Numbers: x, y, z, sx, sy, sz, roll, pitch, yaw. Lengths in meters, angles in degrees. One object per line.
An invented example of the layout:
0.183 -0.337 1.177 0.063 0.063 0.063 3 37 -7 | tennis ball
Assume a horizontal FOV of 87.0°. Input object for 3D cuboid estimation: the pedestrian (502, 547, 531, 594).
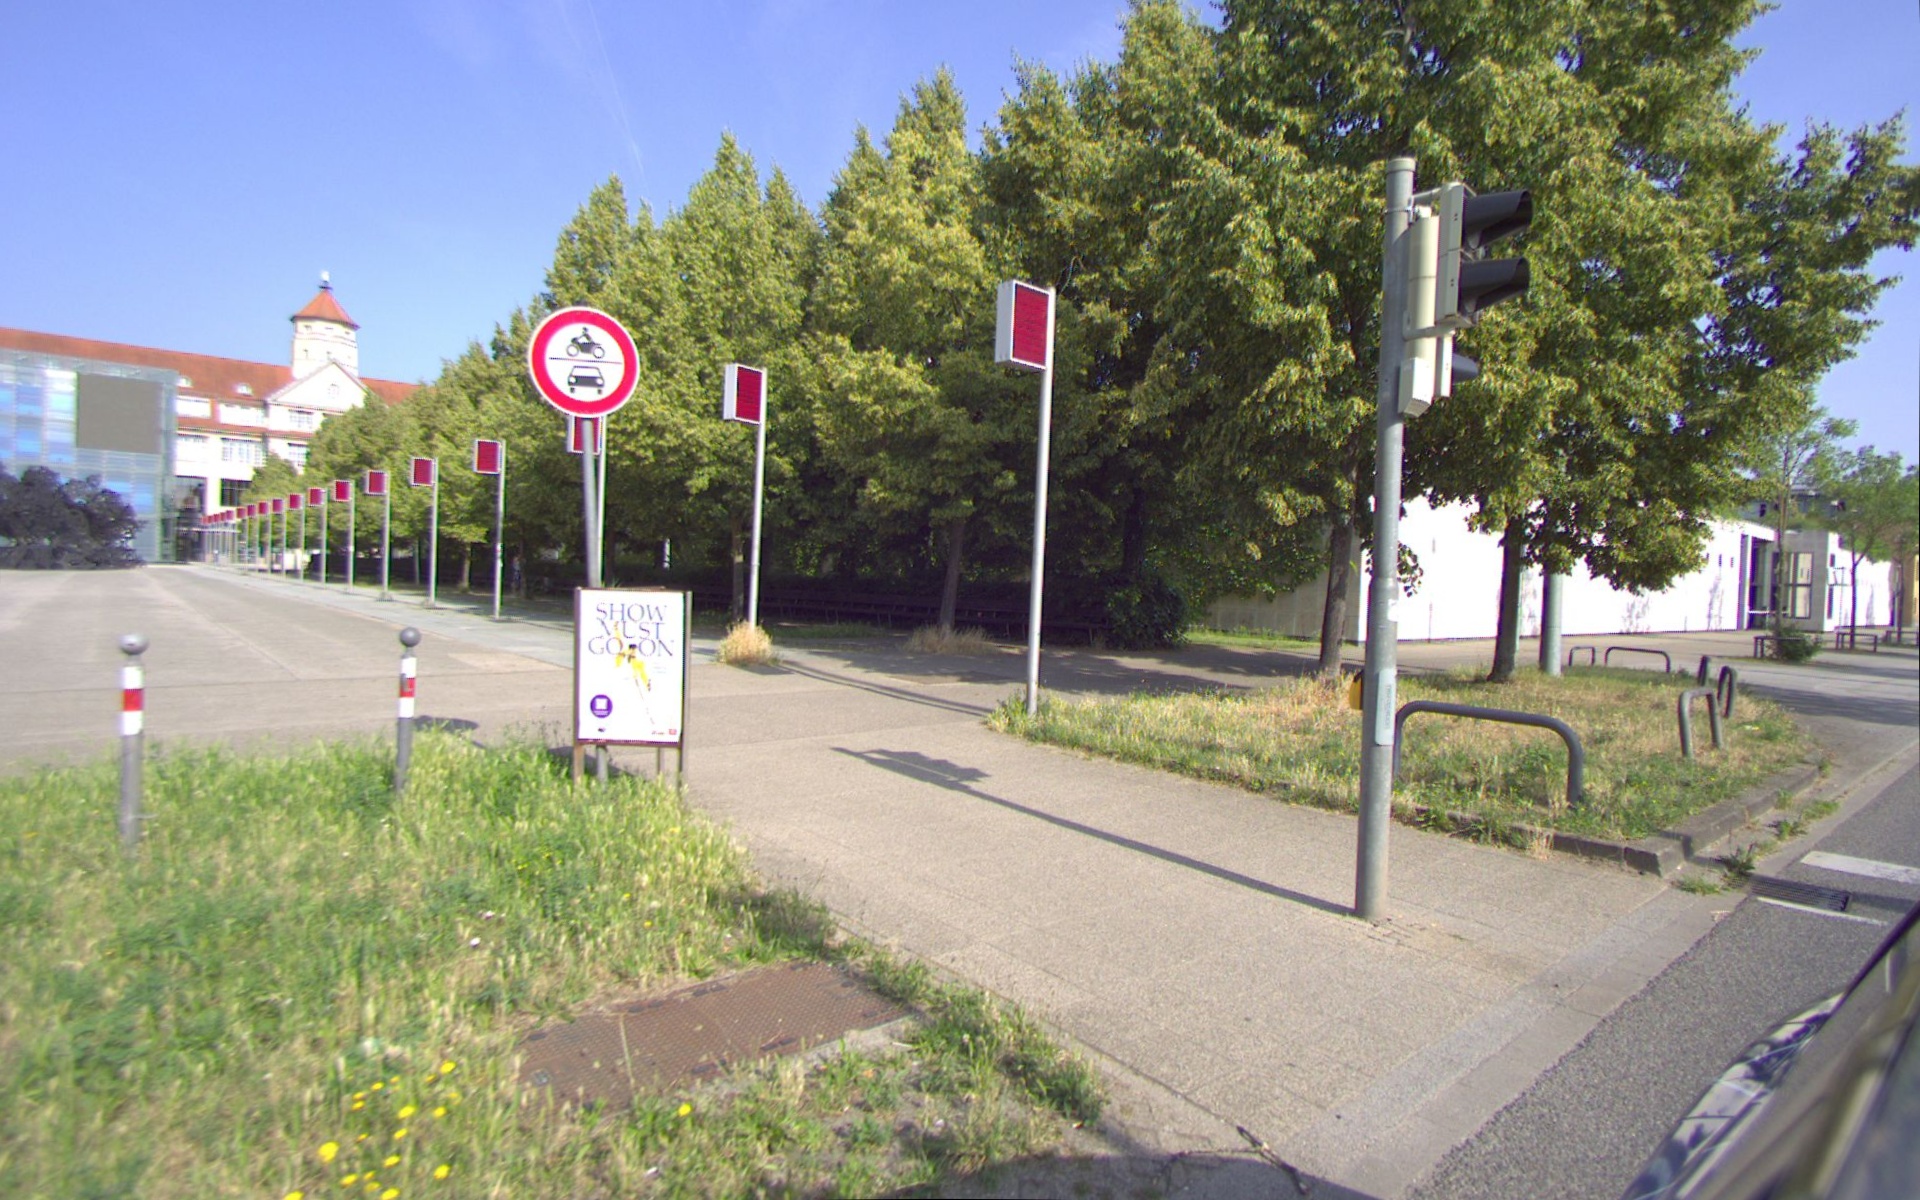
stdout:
-17.933 -1.193 40.936 0.795 1.845 0.734 2 1 19 | pedestrian
